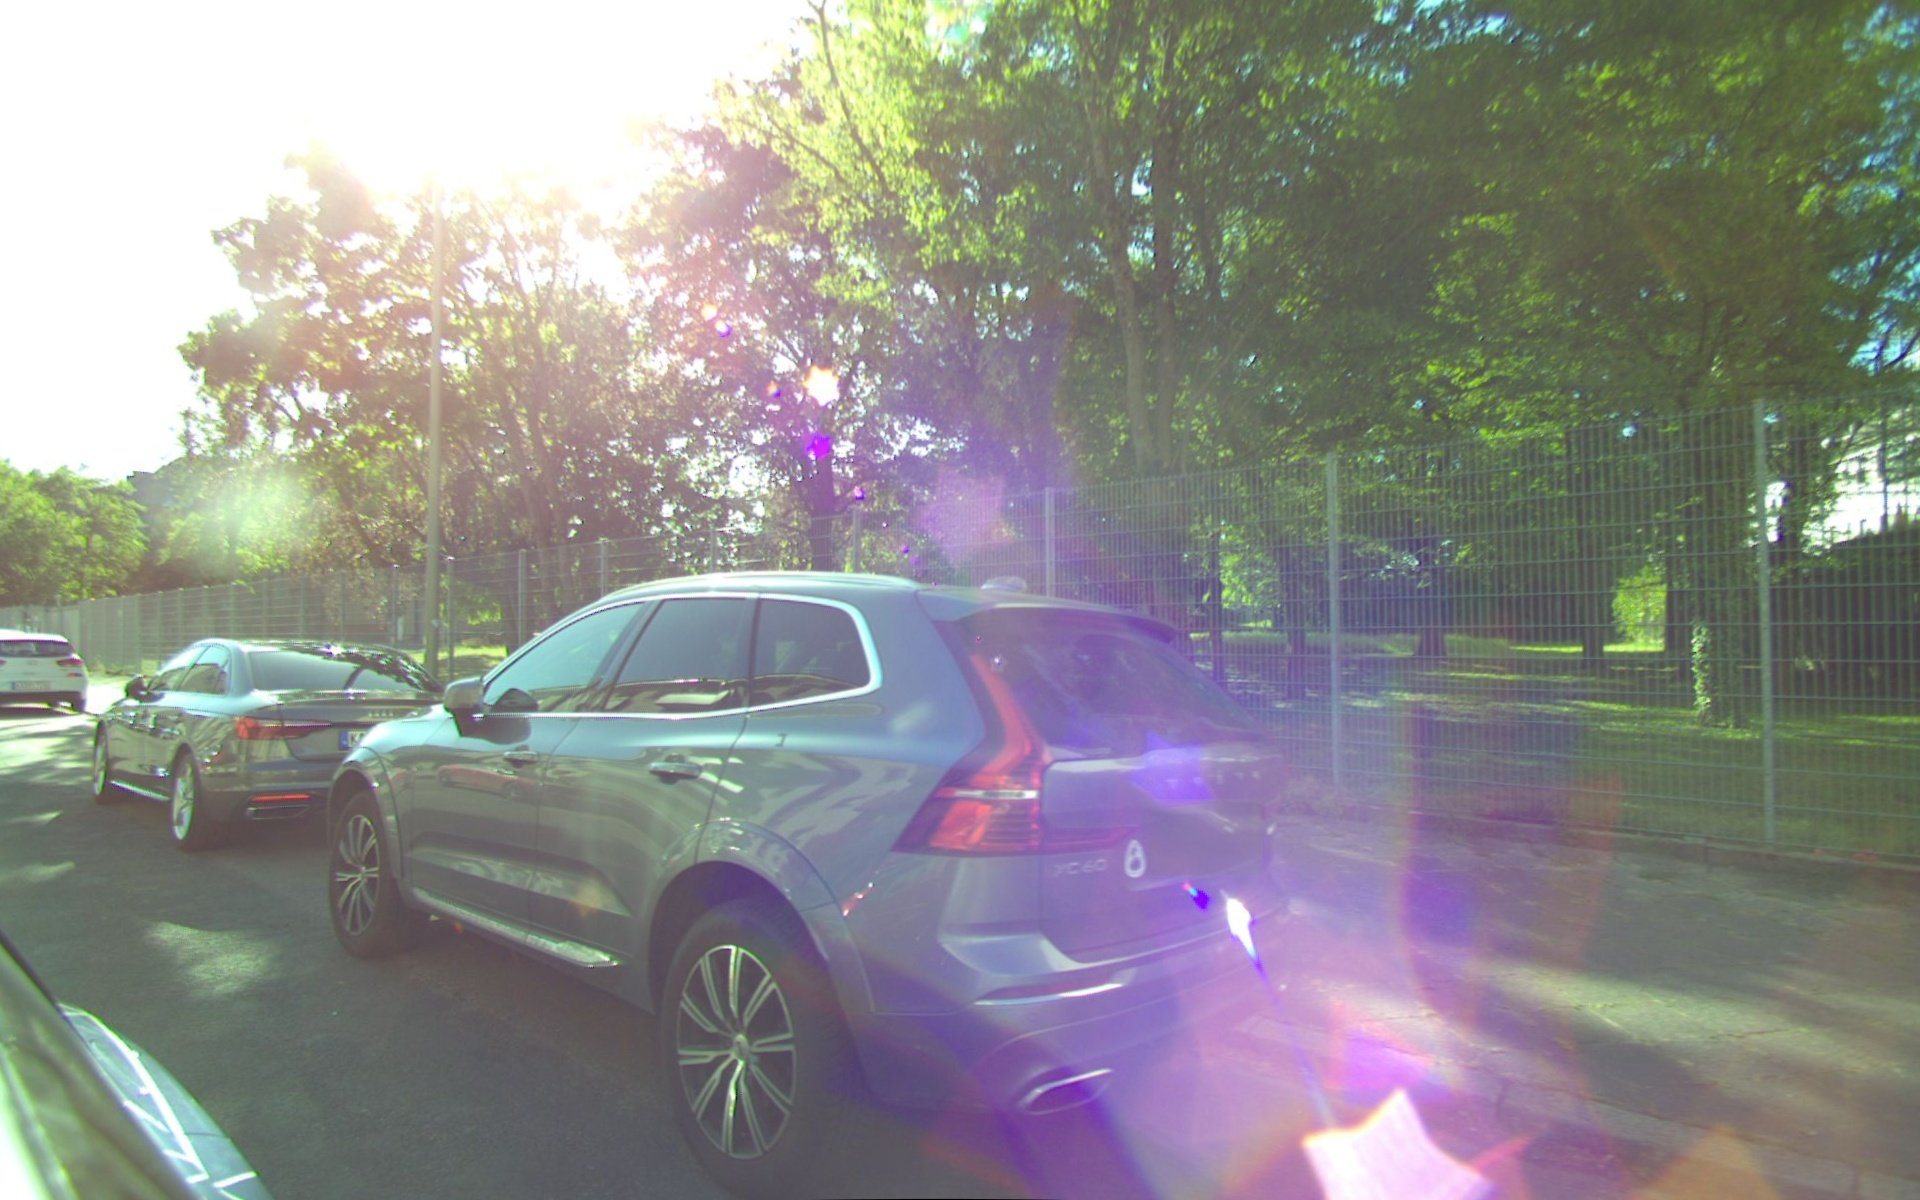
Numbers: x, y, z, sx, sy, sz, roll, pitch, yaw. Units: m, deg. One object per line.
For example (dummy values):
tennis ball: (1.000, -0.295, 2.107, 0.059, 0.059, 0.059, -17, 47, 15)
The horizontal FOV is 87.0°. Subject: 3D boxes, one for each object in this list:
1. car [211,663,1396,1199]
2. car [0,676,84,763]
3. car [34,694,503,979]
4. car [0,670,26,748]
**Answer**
car: (-1.114, 1.145, 4.036, 4.928, 1.676, 1.859, -2, -7, 41)
car: (-18.238, 2.209, 19.196, 4.117, 1.456, 1.775, -3, -5, 40)
car: (-5.557, 1.540, 7.900, 4.497, 1.482, 1.776, -2, -5, 39)
car: (-22.387, 2.385, 22.670, 3.612, 1.656, 1.548, -2, -7, 39)
